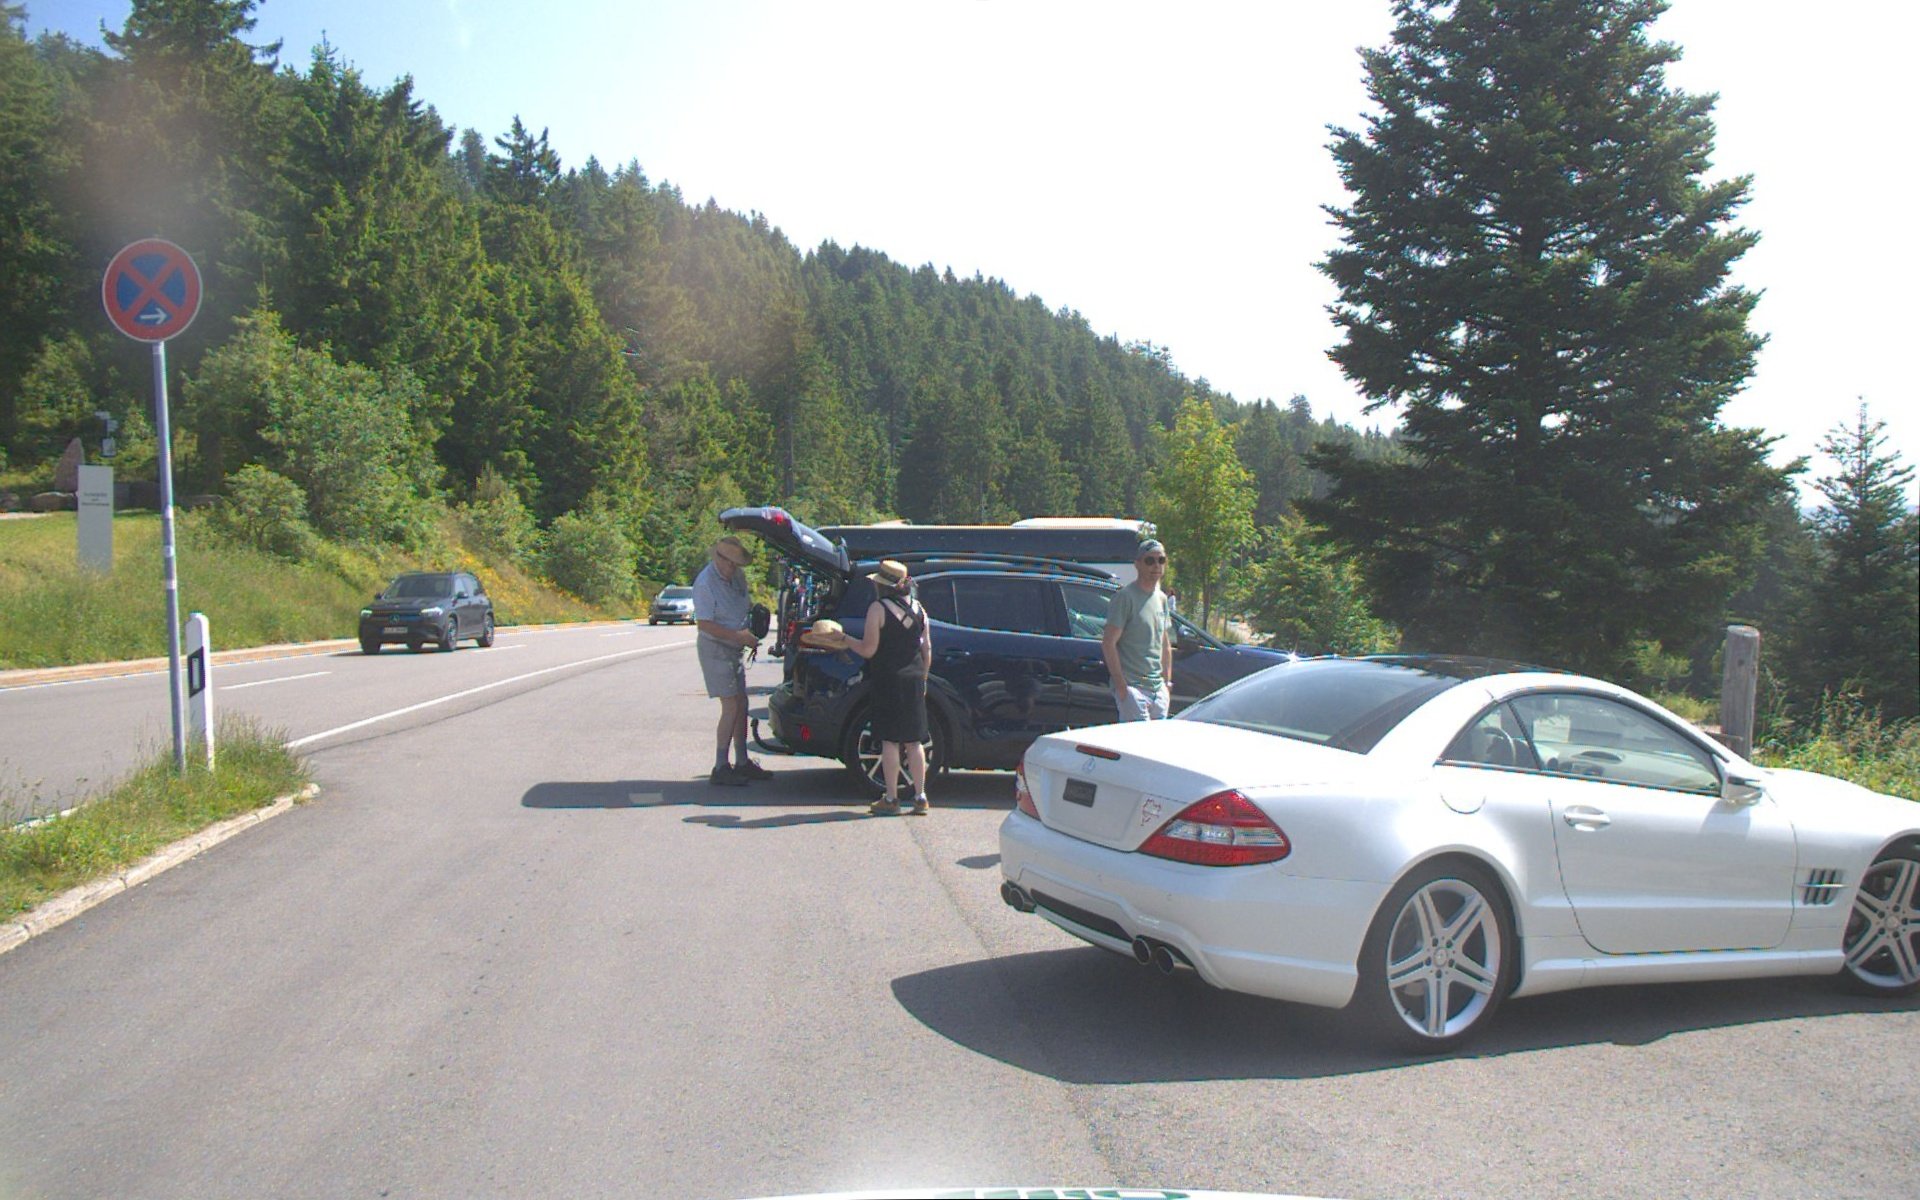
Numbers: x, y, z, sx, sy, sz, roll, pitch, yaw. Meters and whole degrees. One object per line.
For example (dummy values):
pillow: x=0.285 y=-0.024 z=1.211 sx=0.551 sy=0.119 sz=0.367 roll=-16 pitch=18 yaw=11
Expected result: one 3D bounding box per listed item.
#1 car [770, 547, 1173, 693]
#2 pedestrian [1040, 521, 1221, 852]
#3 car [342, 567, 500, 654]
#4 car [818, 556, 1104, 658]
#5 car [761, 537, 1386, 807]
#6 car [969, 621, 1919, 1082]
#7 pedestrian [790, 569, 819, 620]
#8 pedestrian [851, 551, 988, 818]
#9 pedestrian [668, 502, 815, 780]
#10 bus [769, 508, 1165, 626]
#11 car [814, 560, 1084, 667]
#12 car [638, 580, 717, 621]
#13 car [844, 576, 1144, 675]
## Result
car: x=0.133 y=0.221 z=20.925 sx=4.848 sy=1.725 sz=1.945 roll=0 pitch=1 yaw=-1
pedestrian: x=0.996 y=0.483 z=9.687 sx=0.740 sy=1.831 sz=0.727 roll=2 pitch=-1 yaw=-35
car: x=-11.317 y=0.168 z=35.075 sx=1.953 sy=1.676 sz=4.566 roll=-1 pitch=1 yaw=-2
car: x=-0.025 y=0.098 z=29.612 sx=4.934 sy=1.680 sz=2.047 roll=-1 pitch=1 yaw=-3
car: x=0.729 y=0.518 z=12.234 sx=4.263 sy=1.654 sz=1.866 roll=3 pitch=-1 yaw=-9
car: x=2.375 y=0.848 z=6.785 sx=4.344 sy=1.318 sz=1.741 roll=2 pitch=1 yaw=-27
pedestrian: x=-4.945 y=-0.181 z=52.615 sx=0.754 sy=1.613 sz=0.773 roll=-1 pitch=0 yaw=3
pedestrian: x=-0.263 y=0.525 z=10.562 sx=0.704 sy=1.641 sz=0.533 roll=1 pitch=-1 yaw=-24
pedestrian: x=-1.565 y=0.264 z=11.898 sx=0.721 sy=1.903 sz=0.757 roll=3 pitch=3 yaw=27
bus: x=0.317 y=-1.046 z=54.800 sx=12.815 sy=3.594 sz=3.046 roll=-1 pitch=1 yaw=7
car: x=-0.203 y=0.195 z=26.482 sx=4.159 sy=1.581 sz=1.837 roll=-1 pitch=1 yaw=-3
car: x=-10.765 y=-0.009 z=63.284 sx=1.839 sy=1.500 sz=4.717 roll=0 pitch=1 yaw=5
car: x=0.441 y=0.340 z=23.834 sx=4.159 sy=1.291 sz=1.837 roll=-1 pitch=1 yaw=-3
